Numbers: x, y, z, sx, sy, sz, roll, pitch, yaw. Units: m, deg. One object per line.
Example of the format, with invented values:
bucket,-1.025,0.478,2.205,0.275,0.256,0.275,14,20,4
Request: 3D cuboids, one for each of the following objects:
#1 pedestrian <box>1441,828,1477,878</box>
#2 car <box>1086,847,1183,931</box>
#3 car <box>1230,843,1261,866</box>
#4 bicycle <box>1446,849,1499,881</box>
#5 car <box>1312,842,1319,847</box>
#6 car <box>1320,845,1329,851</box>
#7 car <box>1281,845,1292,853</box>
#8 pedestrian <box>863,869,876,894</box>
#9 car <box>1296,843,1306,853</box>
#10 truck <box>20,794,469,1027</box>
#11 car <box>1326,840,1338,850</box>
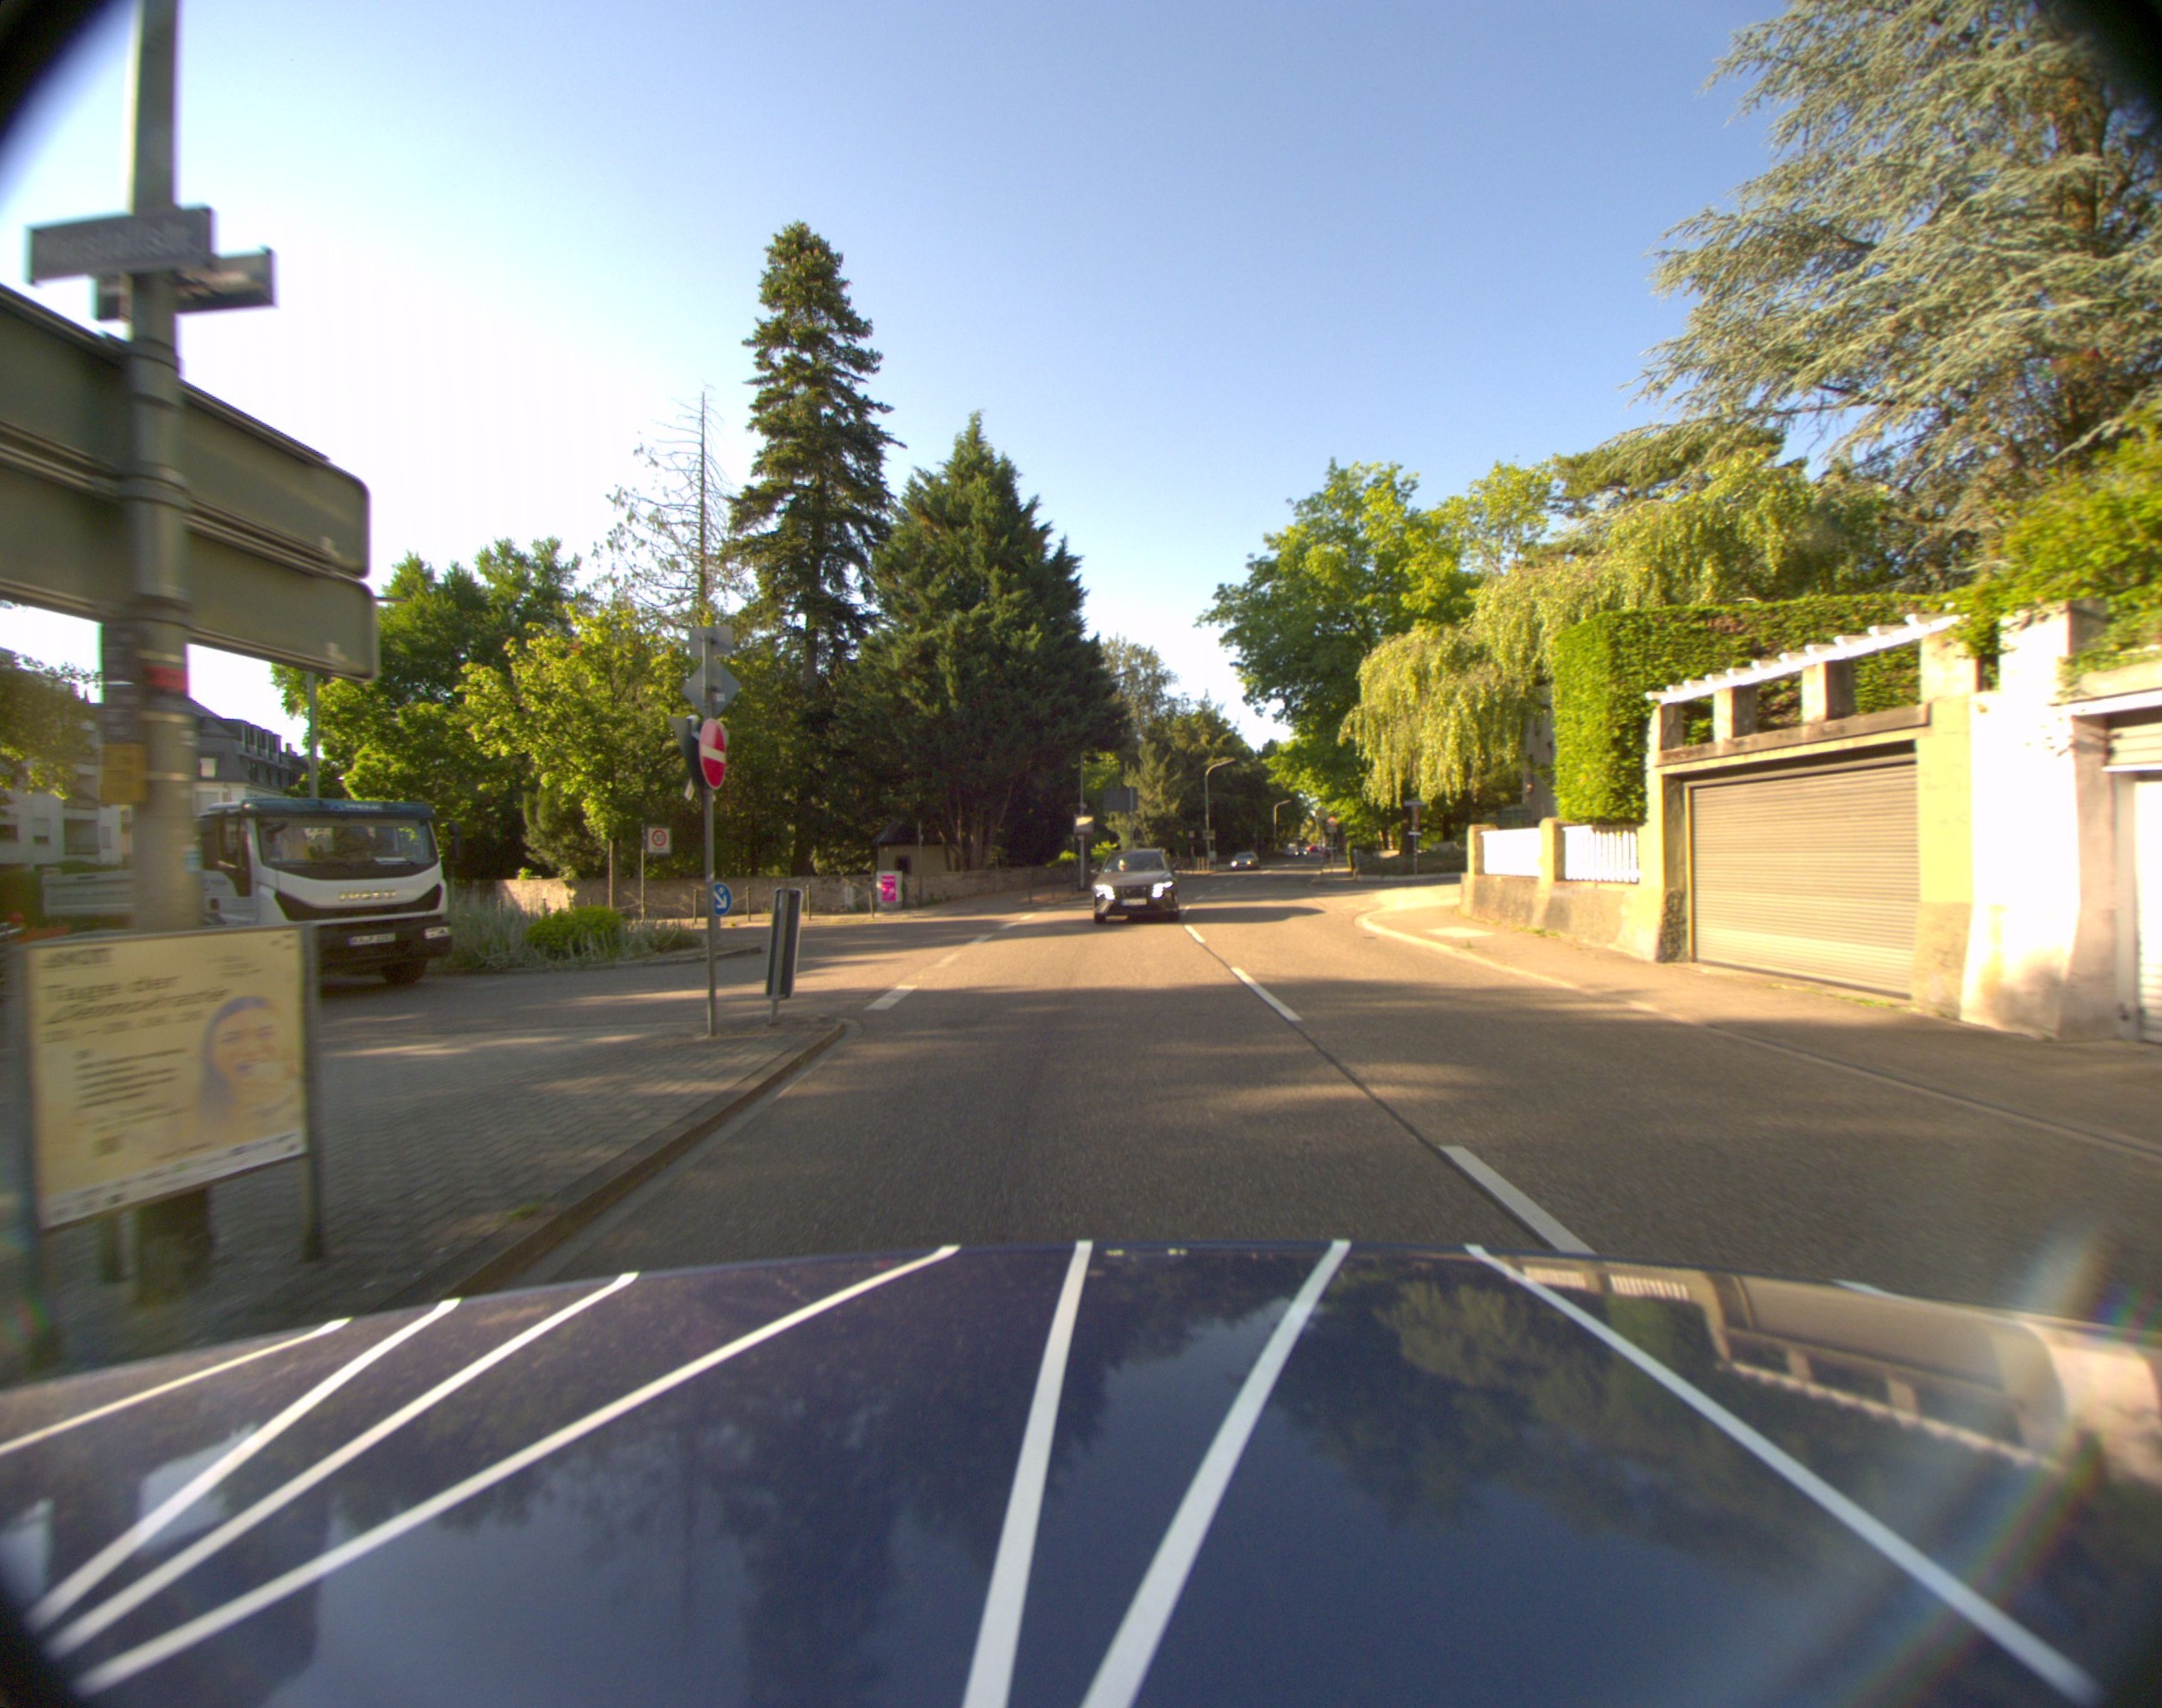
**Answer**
pedestrian,13.980,-0.035,28.098,0.944,1.815,0.554,-3,-1,-19
car,1.182,0.712,17.835,1.936,1.676,4.432,-2,0,2
car,12.980,-0.013,59.773,1.996,1.630,4.004,-4,0,16
bicycle,14.210,0.396,27.579,1.819,1.036,0.561,-3,-1,-18
car,71.604,-2.857,232.030,1.821,1.375,3.939,2,2,14
car,56.449,-1.370,176.005,1.821,1.375,3.939,2,2,14
car,38.362,-1.006,141.840,1.821,1.375,3.939,2,2,14
pedestrian,-15.461,2.015,55.555,0.590,1.719,0.599,-4,1,19
car,44.651,-1.217,154.322,1.996,2.002,4.004,-2,0,16
truck,-12.969,0.849,11.753,6.594,2.878,2.437,-3,0,22
car,40.168,-1.405,121.658,1.687,1.425,3.620,-5,-1,18
